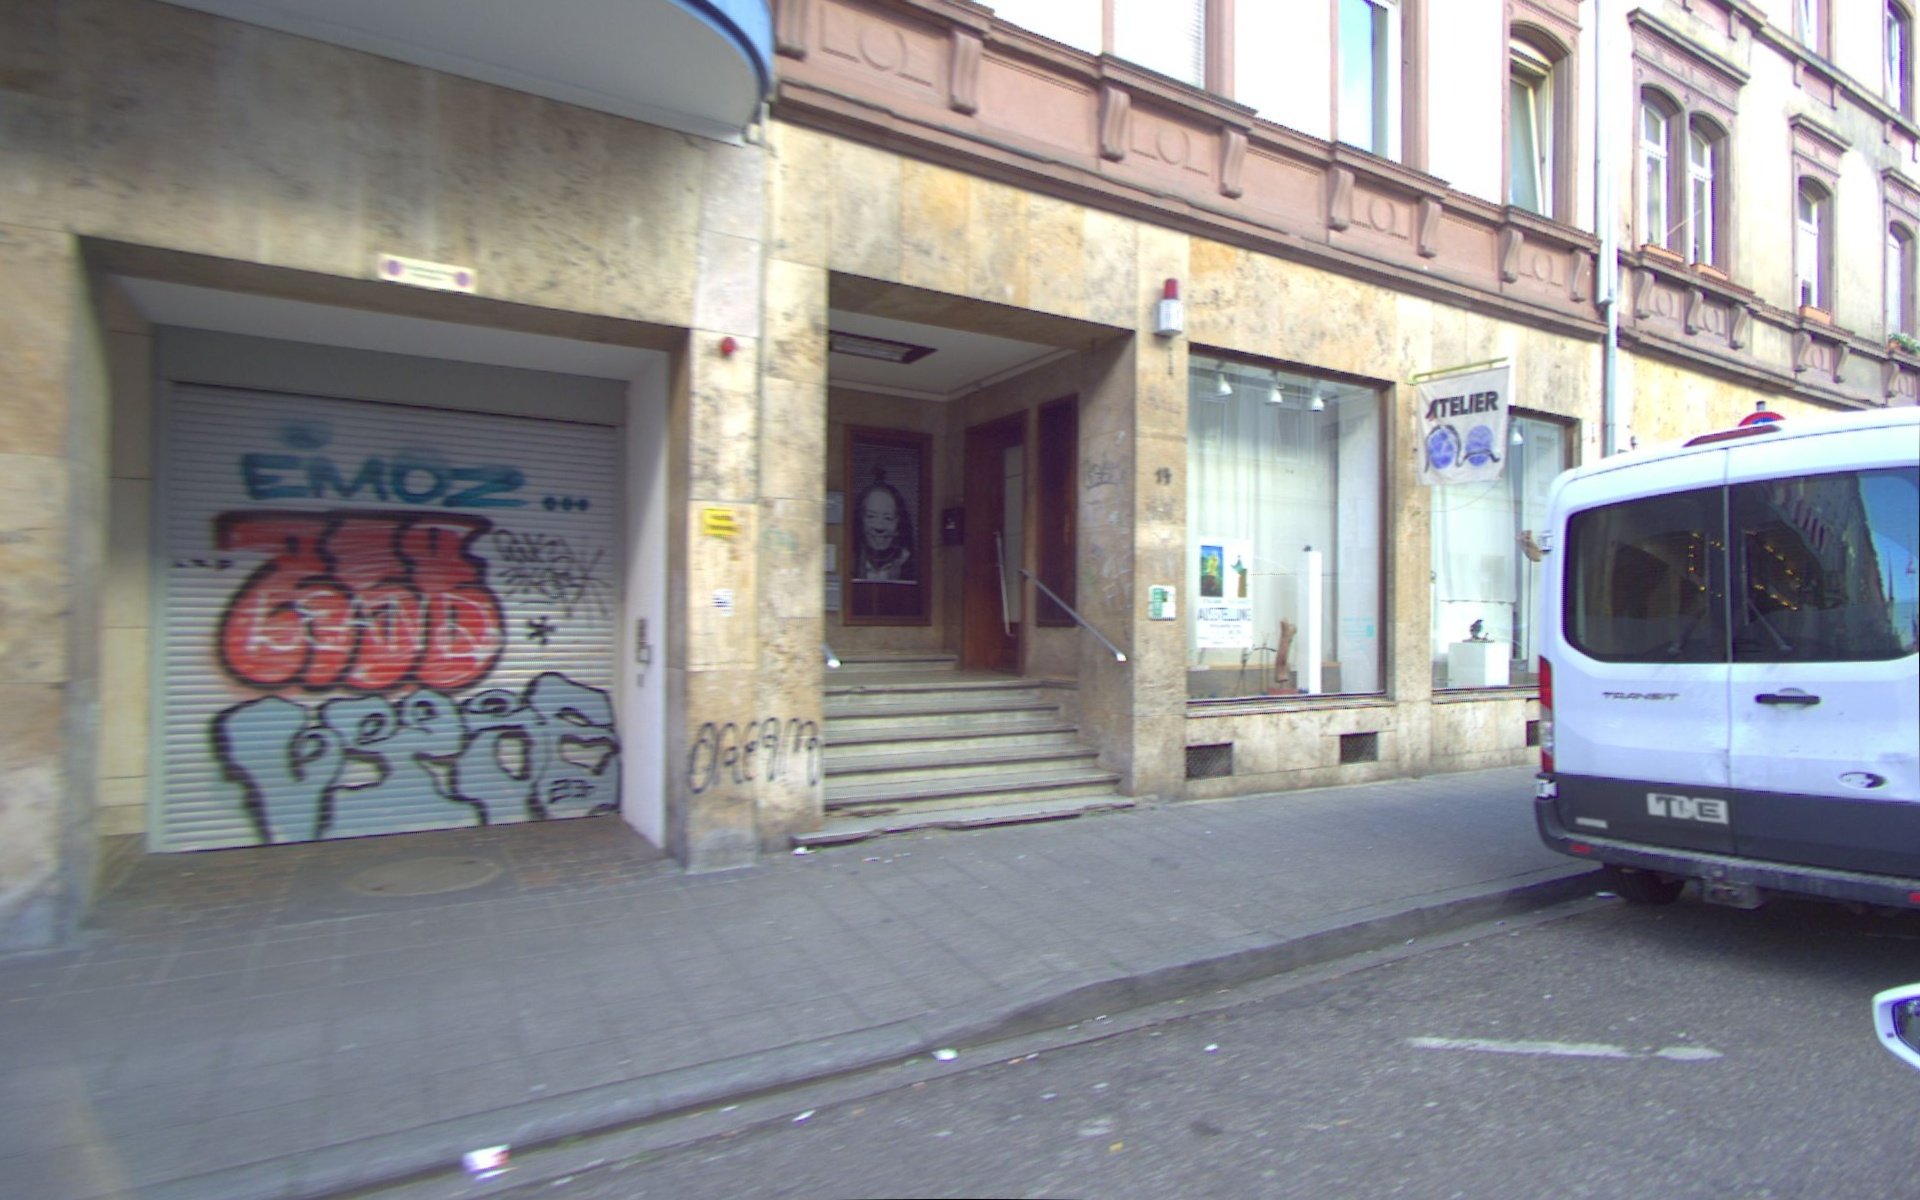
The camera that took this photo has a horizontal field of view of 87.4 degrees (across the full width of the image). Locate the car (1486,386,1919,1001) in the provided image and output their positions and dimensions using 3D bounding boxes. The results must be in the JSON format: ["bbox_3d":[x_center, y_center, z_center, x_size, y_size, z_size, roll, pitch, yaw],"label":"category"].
[{"bbox_3d":[6.004,0.455,6.223,5.855,2.484,2.157,1,-3,-32],"label":"car"}]
